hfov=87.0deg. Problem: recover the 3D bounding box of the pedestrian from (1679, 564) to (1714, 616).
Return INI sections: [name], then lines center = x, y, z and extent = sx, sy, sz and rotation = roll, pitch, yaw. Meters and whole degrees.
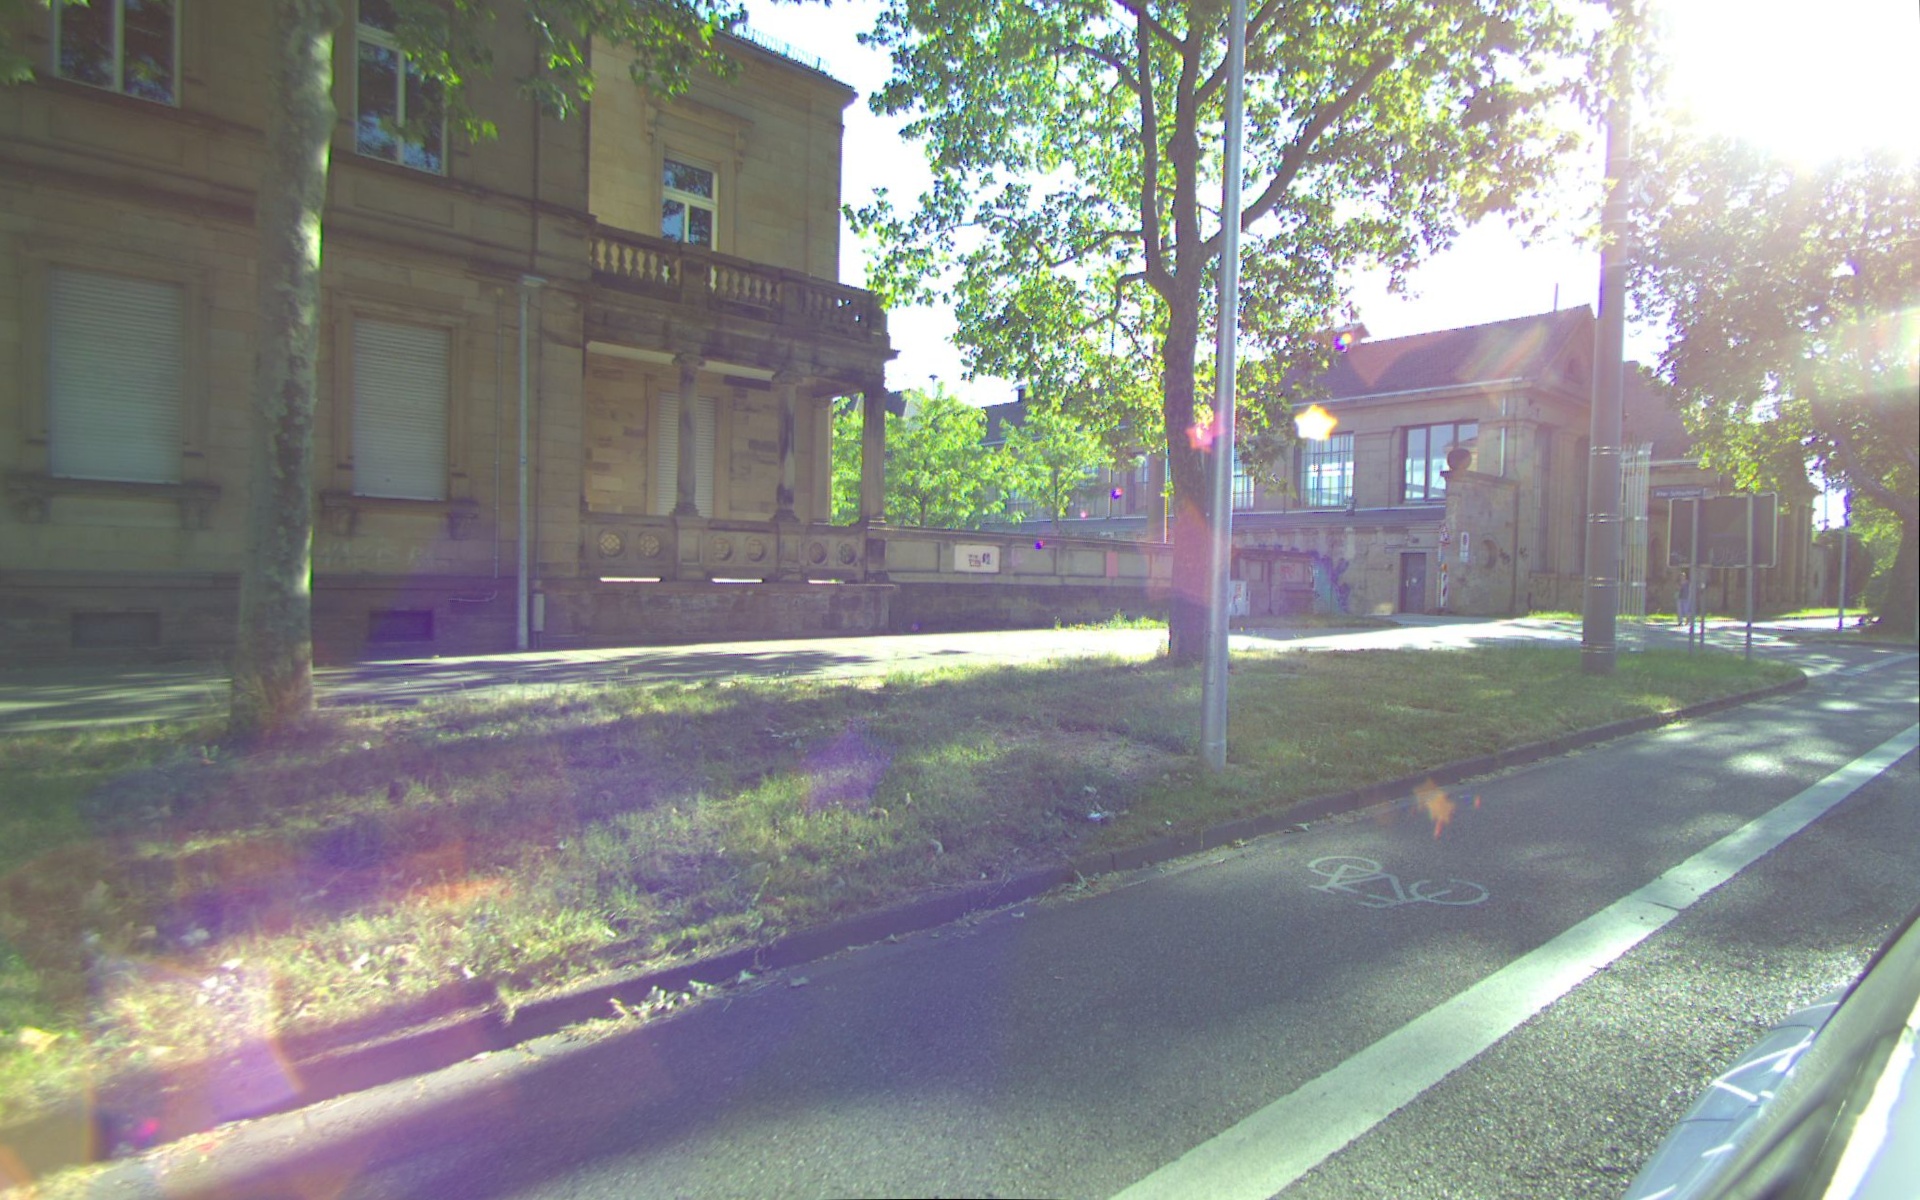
[pedestrian]
center = 24.596, -0.336, 33.805
extent = 0.858, 1.682, 0.672
rotation = 0, 3, -39
